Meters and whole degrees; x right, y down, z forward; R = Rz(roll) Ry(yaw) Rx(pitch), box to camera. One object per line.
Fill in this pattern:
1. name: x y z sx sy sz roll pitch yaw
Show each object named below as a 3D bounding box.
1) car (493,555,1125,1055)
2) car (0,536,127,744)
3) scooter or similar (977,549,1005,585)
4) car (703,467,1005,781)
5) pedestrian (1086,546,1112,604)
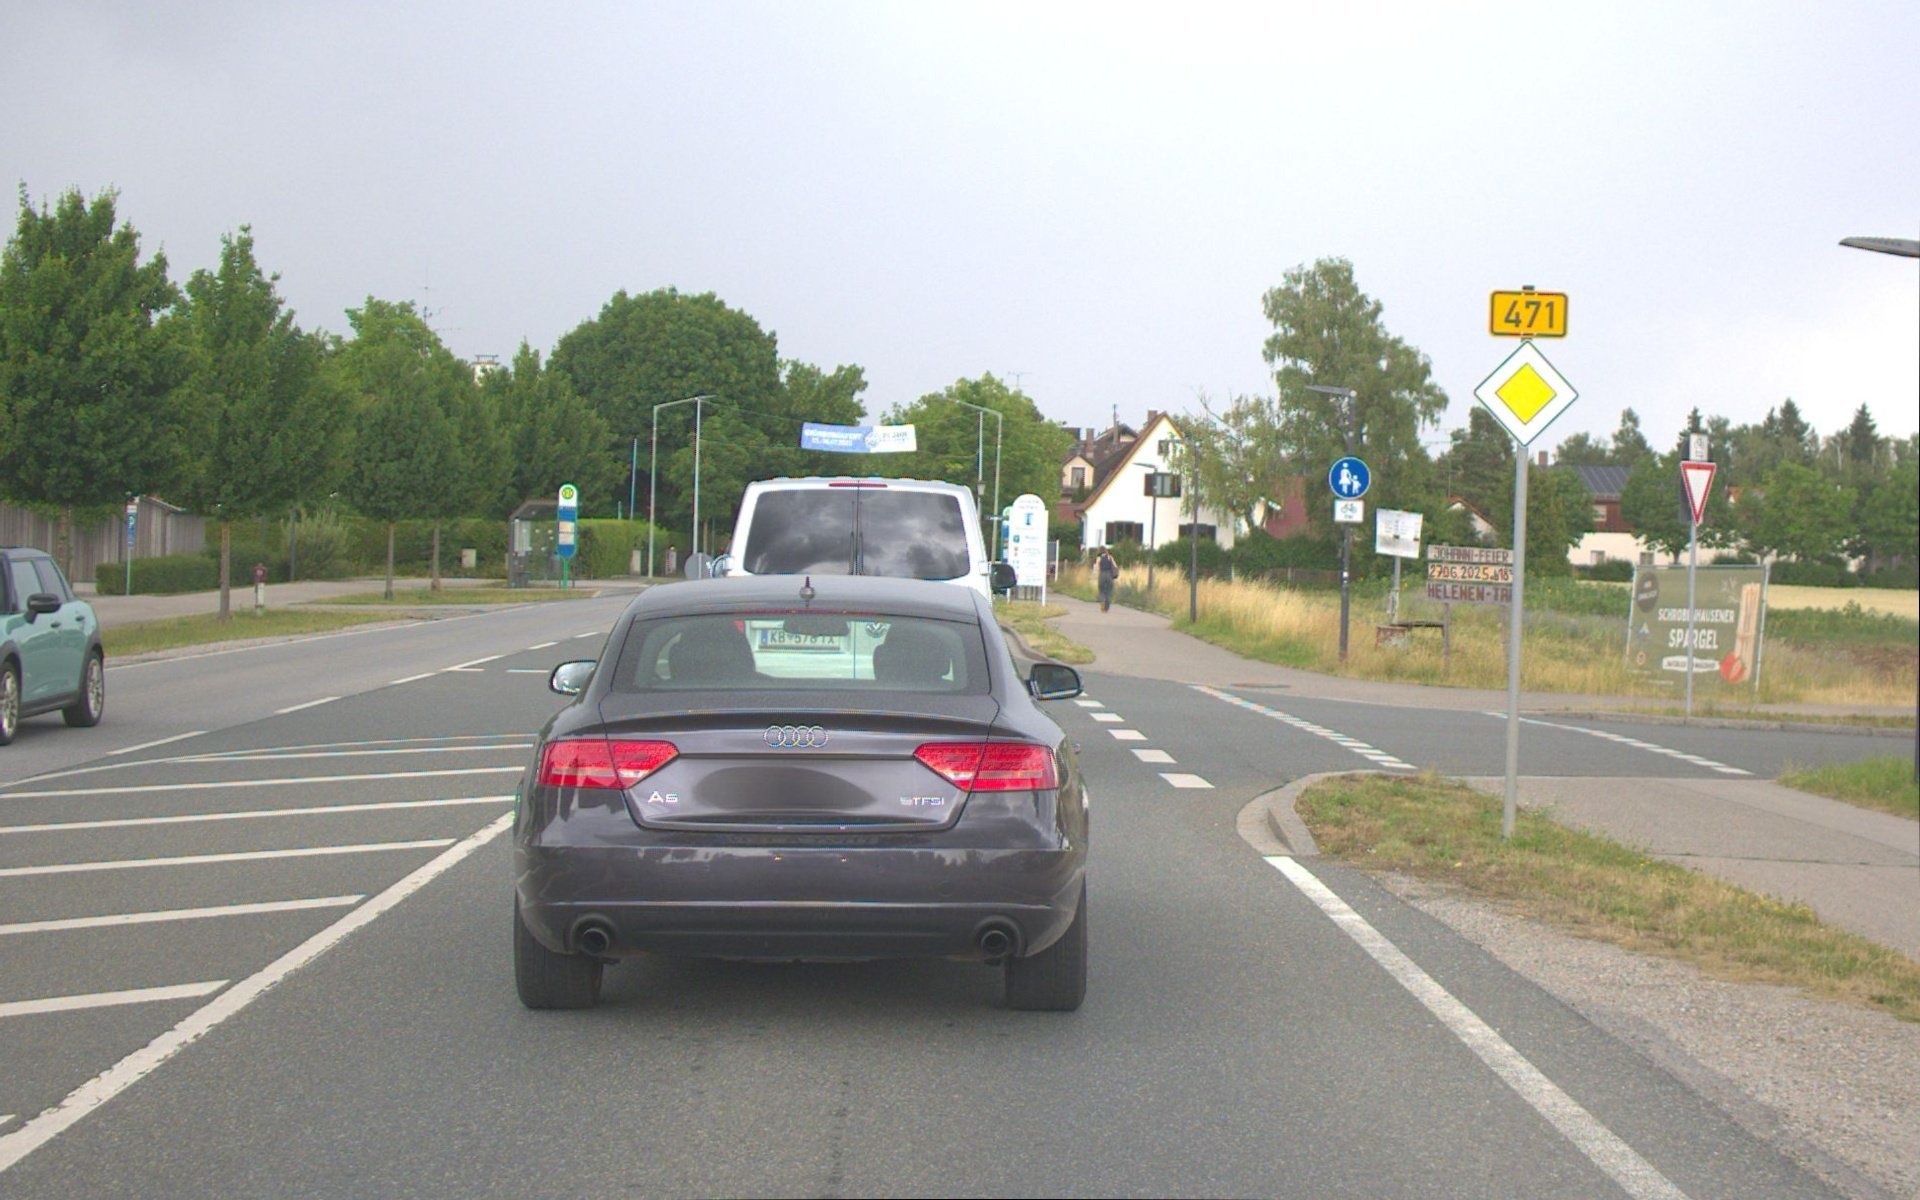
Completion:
1. car: -0.621 0.560 12.133 1.825 1.384 4.388 0 1 -5
2. car: -7.614 0.245 25.857 1.770 1.438 4.000 0 1 -1
3. scooter or similar: 0.957 -1.009 105.567 0.848 1.100 1.094 0 1 0
4. car: -0.750 0.112 23.801 1.825 1.907 4.001 3 1 -2
5. pedestrian: 3.632 -0.654 89.696 0.623 1.519 0.680 0 1 -1
